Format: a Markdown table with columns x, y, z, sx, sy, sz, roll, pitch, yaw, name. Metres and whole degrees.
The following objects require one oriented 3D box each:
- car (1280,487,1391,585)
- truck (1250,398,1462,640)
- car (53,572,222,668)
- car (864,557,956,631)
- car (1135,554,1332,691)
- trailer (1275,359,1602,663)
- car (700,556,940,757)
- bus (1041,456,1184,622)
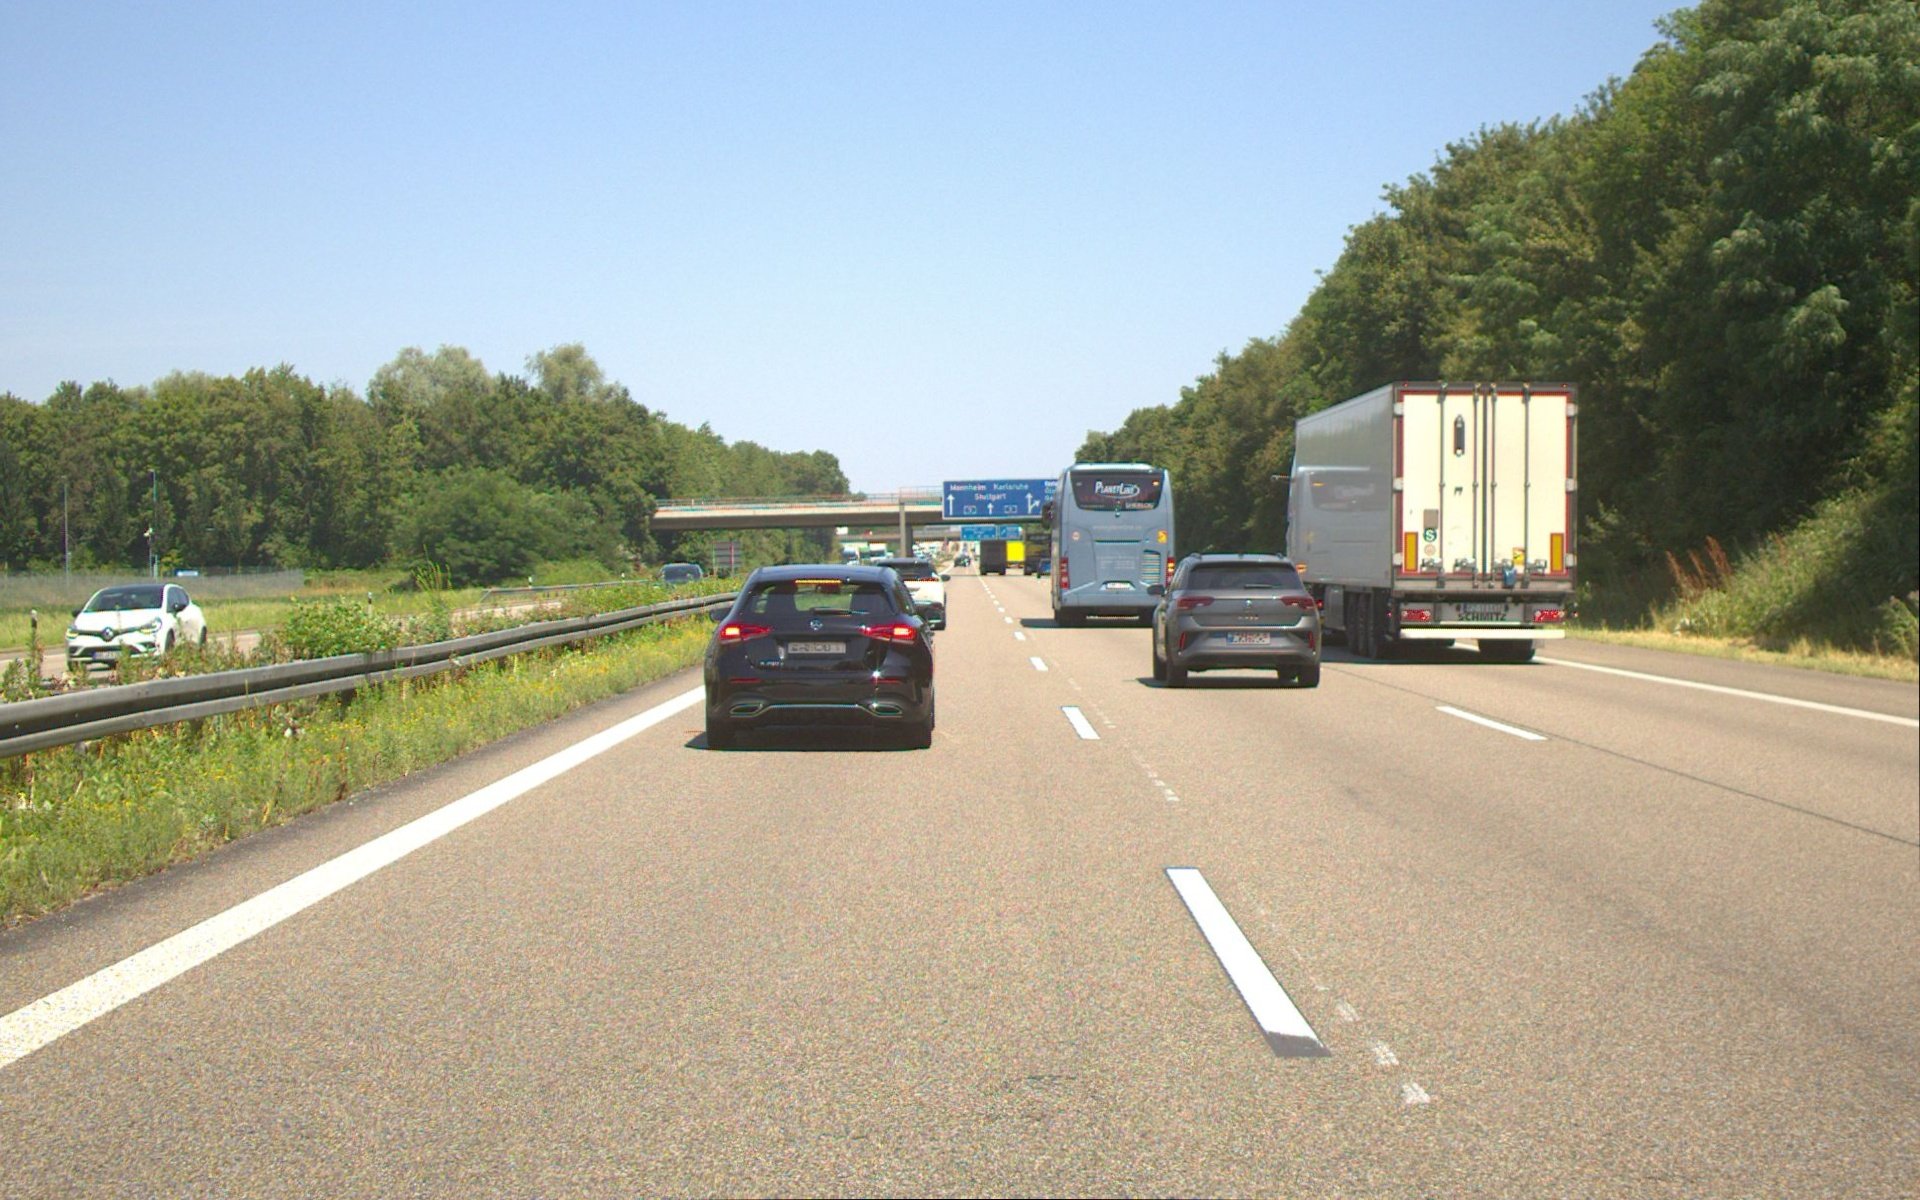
| x | y | z | sx | sy | sz | roll | pitch | yaw | name |
| --- | --- | --- | --- | --- | --- | --- | --- | --- | --- |
| 8.288 | -1.409 | 76.181 | 1.899 | 2.113 | 4.242 | 0 | 1 | -1 | car |
| 7.147 | -1.452 | 62.849 | 3.047 | 4.200 | 6.049 | 0 | 1 | -1 | truck |
| -14.108 | 0.308 | 59.233 | 1.799 | 1.527 | 4.483 | -1 | 1 | 0 | car |
| -1.078 | -0.153 | 73.785 | 1.899 | 1.527 | 4.242 | 0 | 1 | -1 | car |
| 3.213 | 0.224 | 41.253 | 1.899 | 1.527 | 4.760 | 0 | 1 | -1 | car |
| 7.279 | -1.332 | 54.674 | 3.039 | 4.210 | 13.836 | 0 | 1 | -1 | trailer |
| -1.086 | 0.402 | 27.979 | 1.799 | 1.497 | 4.242 | 0 | 1 | -1 | car |
| 3.437 | -1.380 | 80.328 | 2.802 | 3.584 | 12.474 | 0 | 1 | 0 | bus |
